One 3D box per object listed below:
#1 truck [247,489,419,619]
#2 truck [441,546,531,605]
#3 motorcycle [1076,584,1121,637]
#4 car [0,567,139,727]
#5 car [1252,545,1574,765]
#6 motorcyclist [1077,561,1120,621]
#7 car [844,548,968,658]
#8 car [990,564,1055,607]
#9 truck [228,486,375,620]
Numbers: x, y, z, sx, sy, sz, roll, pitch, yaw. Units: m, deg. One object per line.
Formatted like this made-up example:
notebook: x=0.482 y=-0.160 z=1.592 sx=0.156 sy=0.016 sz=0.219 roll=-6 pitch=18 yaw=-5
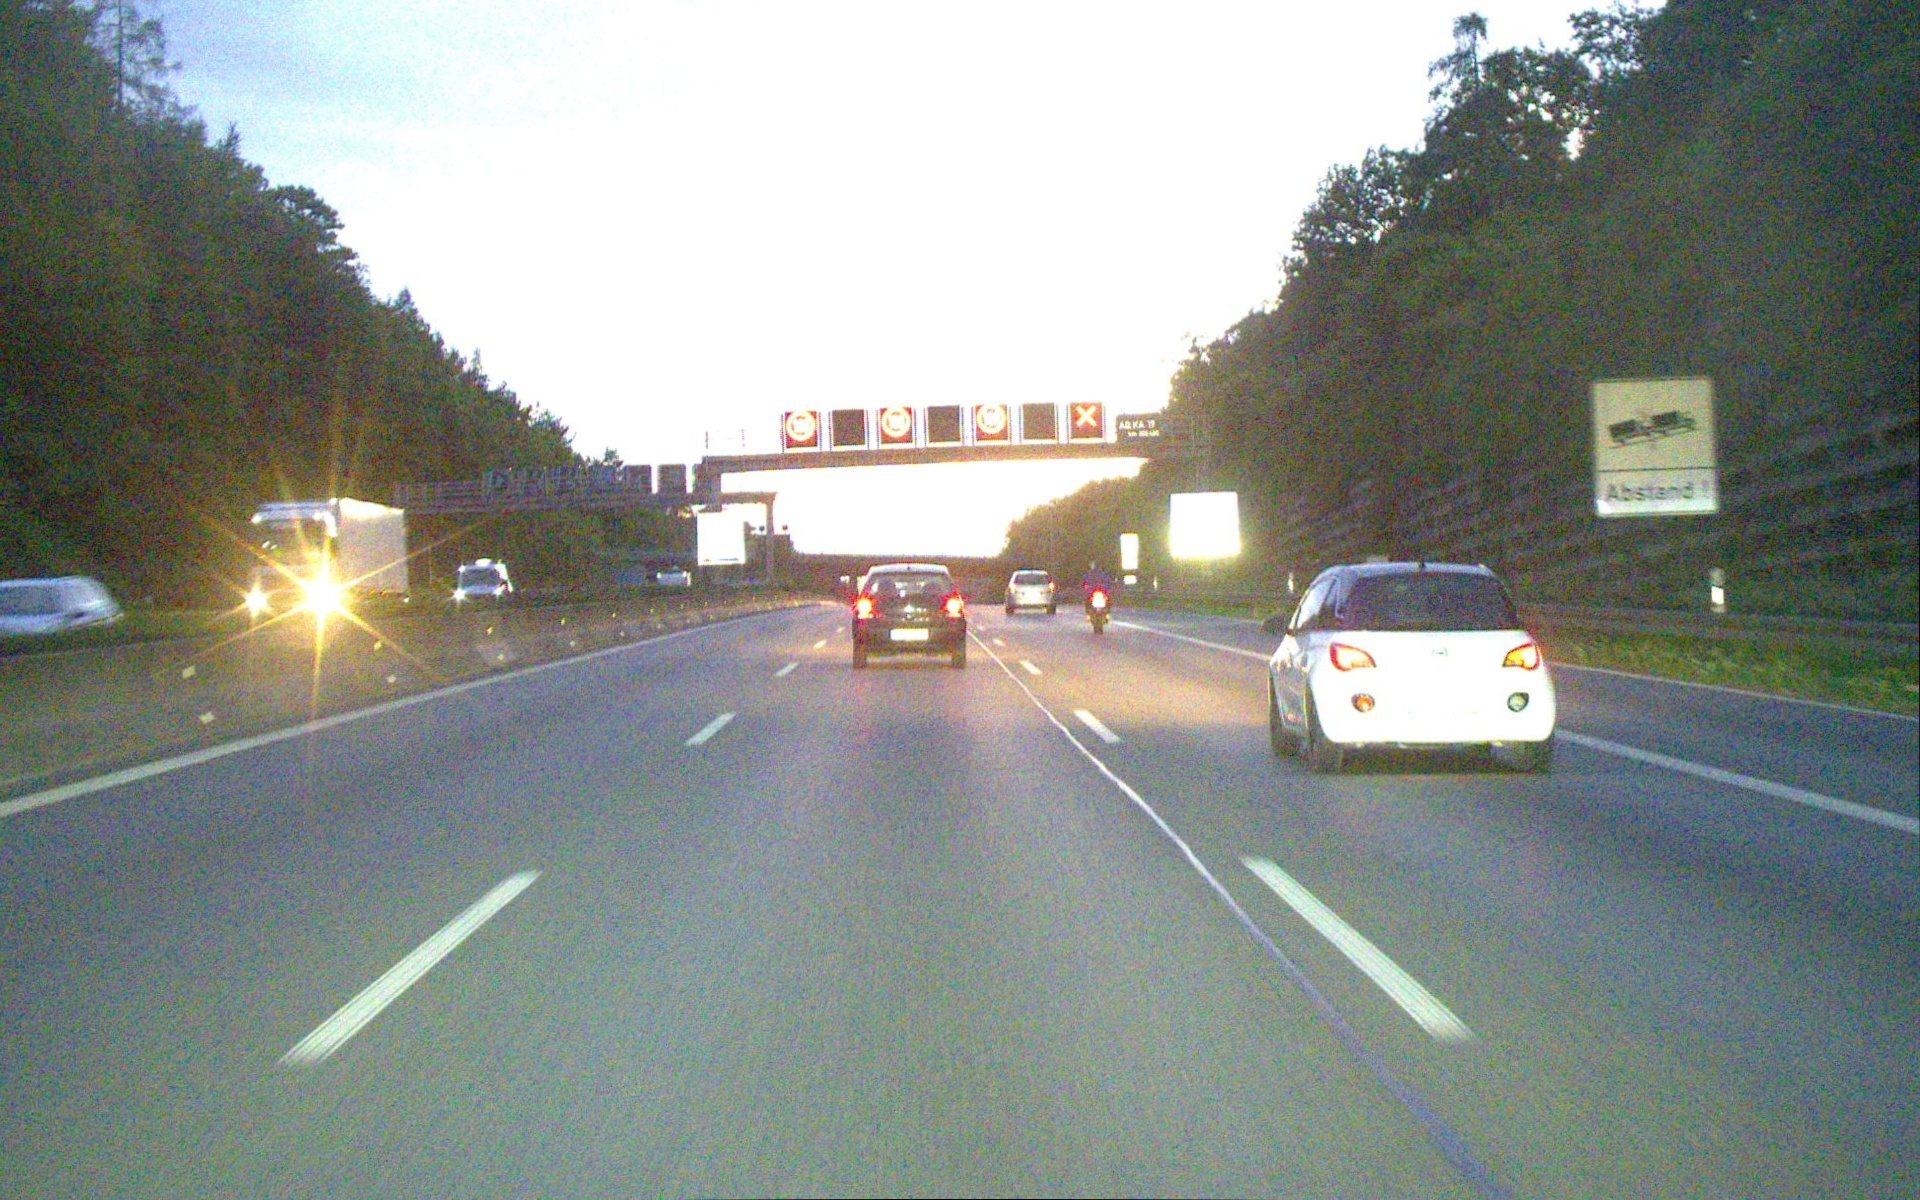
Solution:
truck: x=-20.758 y=-1.540 z=114.801 sx=3.356 sy=3.989 sz=14.498 roll=-1 pitch=1 yaw=-2
truck: x=-20.728 y=-1.092 z=150.717 sx=2.461 sy=2.501 sz=9.754 roll=-1 pitch=1 yaw=1
motorcycle: x=3.011 y=0.222 z=74.757 sx=0.829 sy=1.130 sz=2.476 roll=-1 pitch=0 yaw=-1
car: x=-12.185 y=0.568 z=44.716 sx=1.930 sy=1.925 sz=5.113 roll=-2 pitch=1 yaw=-3
car: x=3.245 y=0.385 z=25.406 sx=1.825 sy=1.471 sz=4.398 roll=1 pitch=0 yaw=0
motorcyclist: x=3.006 y=-0.193 z=74.688 sx=0.829 sy=1.287 sz=1.190 roll=-1 pitch=0 yaw=-1
car: x=-0.757 y=0.058 z=49.666 sx=1.704 sy=1.504 sz=4.232 roll=1 pitch=0 yaw=0
car: x=2.199 y=-0.500 z=121.848 sx=1.865 sy=1.489 sz=4.399 roll=1 pitch=0 yaw=-5
truck: x=-20.575 y=-1.483 z=107.851 sx=3.380 sy=3.989 sz=6.880 roll=-1 pitch=1 yaw=-2
